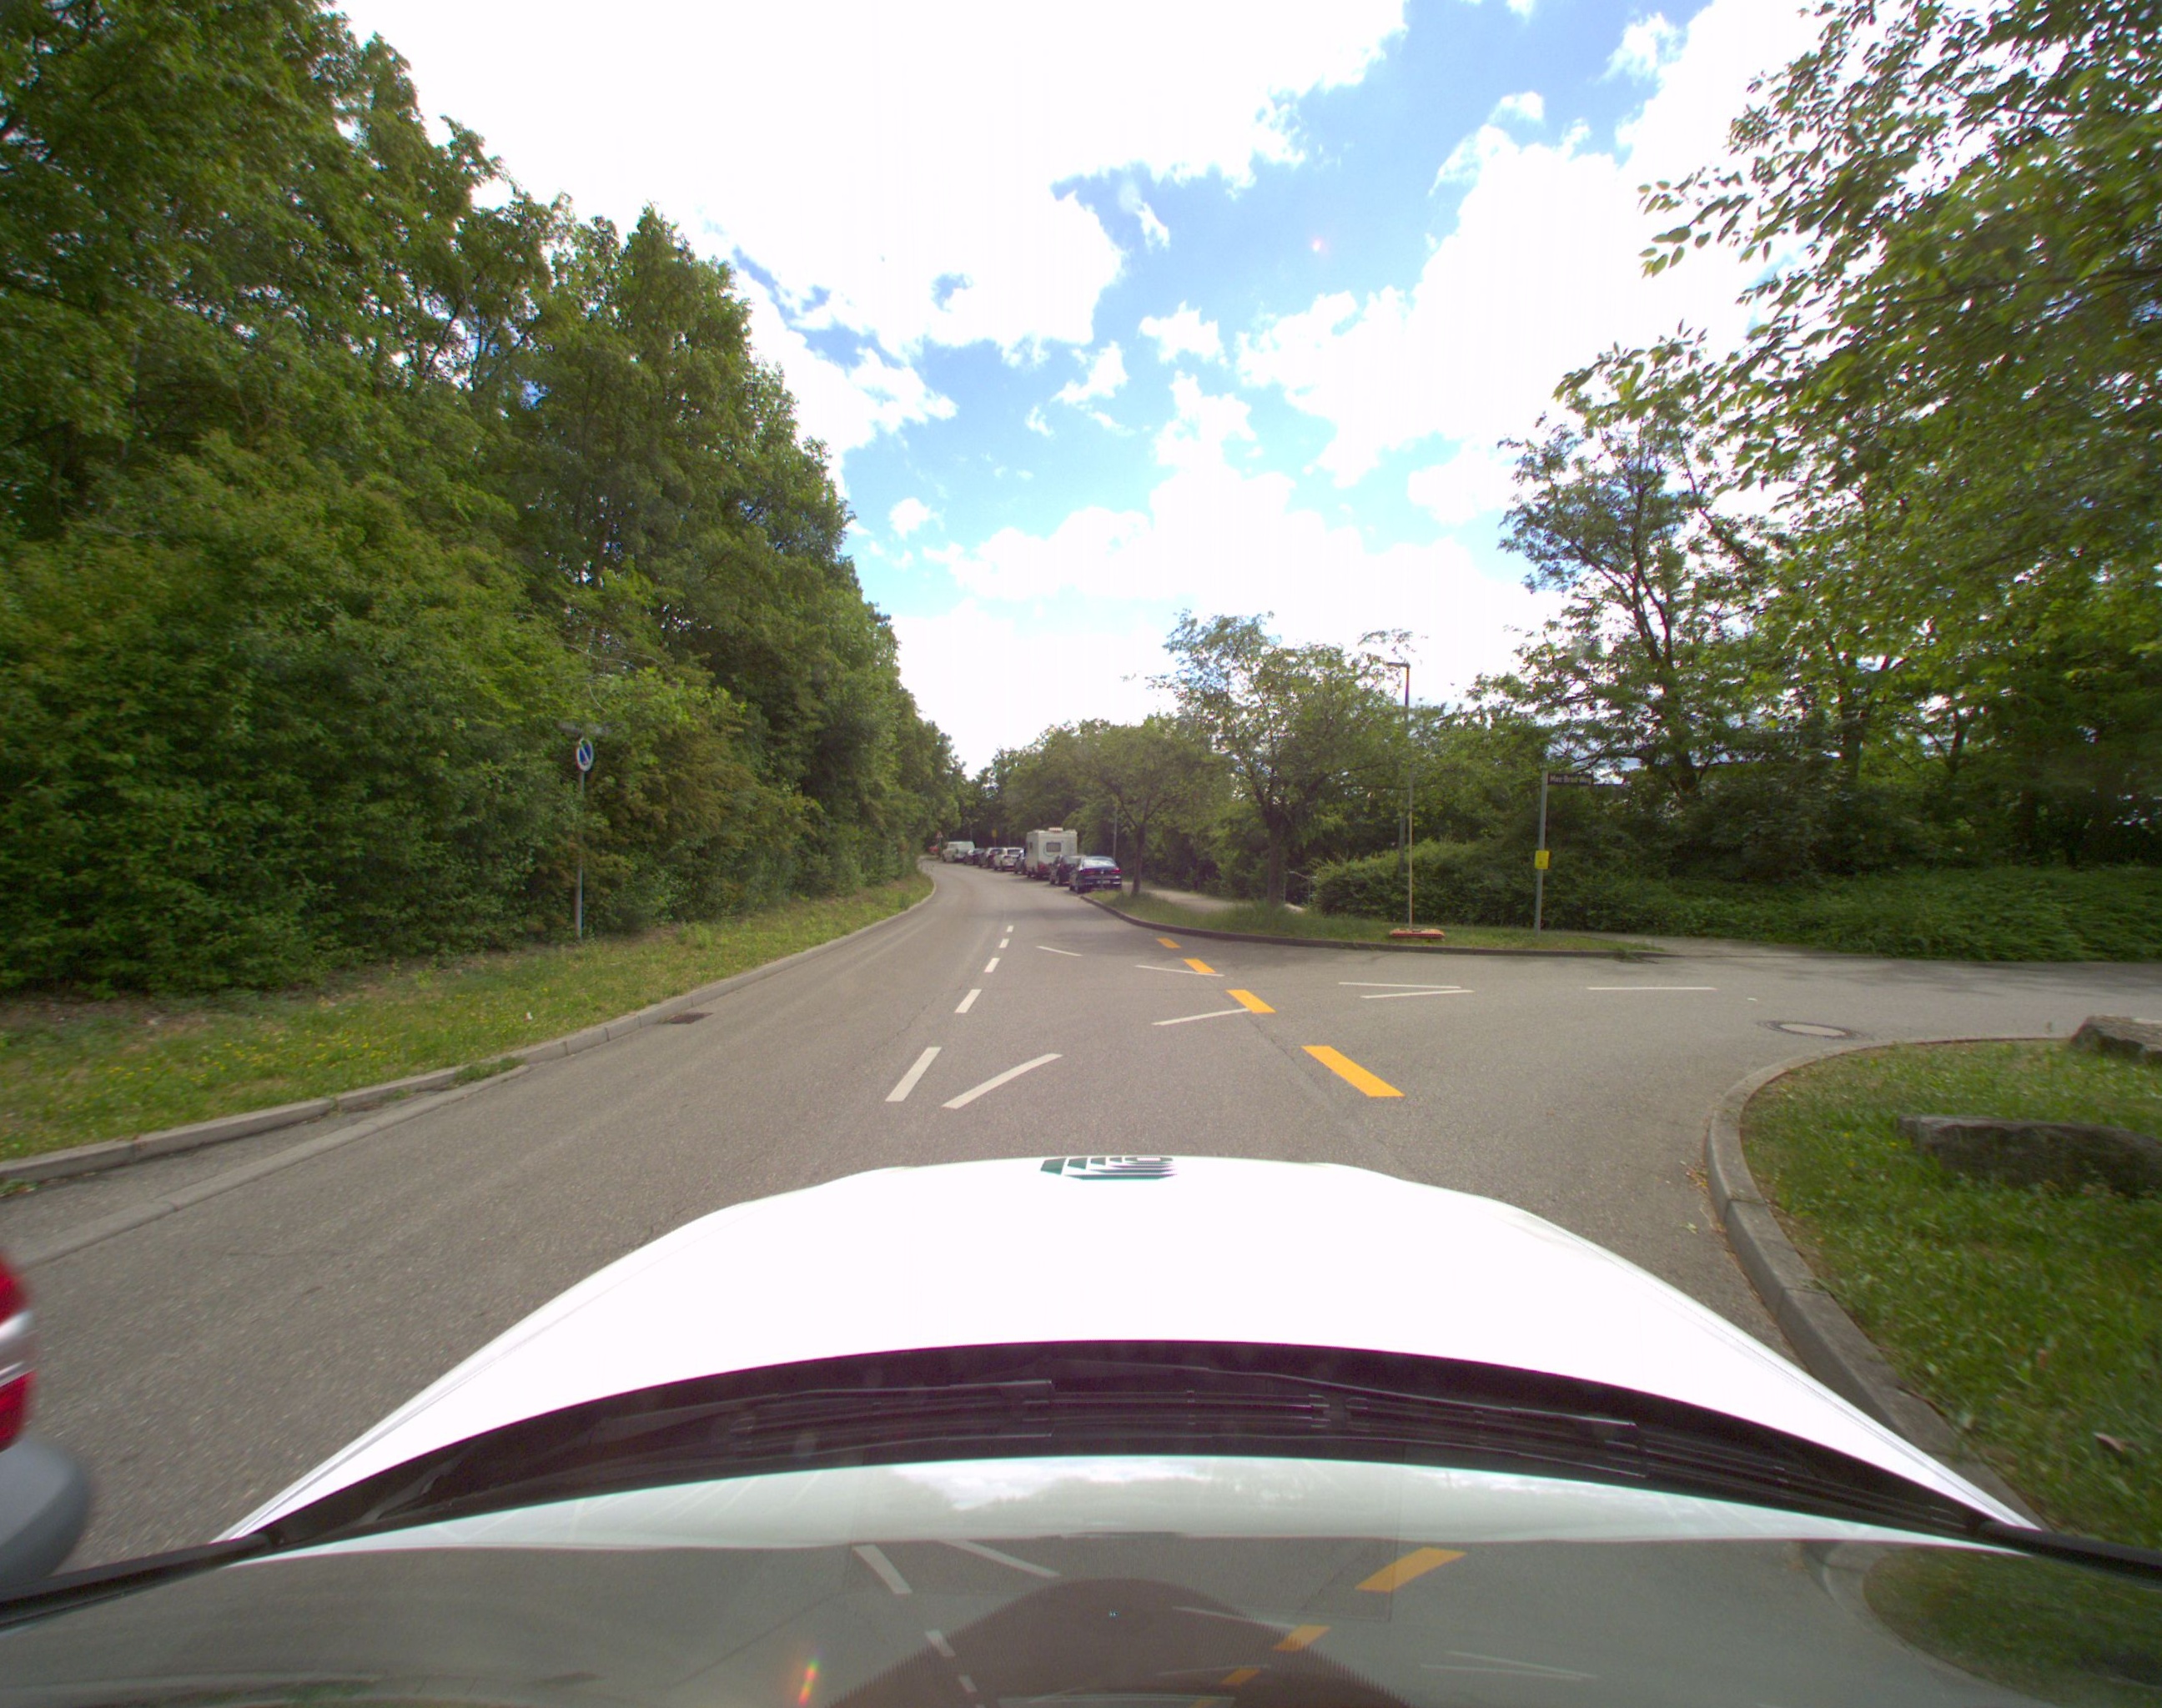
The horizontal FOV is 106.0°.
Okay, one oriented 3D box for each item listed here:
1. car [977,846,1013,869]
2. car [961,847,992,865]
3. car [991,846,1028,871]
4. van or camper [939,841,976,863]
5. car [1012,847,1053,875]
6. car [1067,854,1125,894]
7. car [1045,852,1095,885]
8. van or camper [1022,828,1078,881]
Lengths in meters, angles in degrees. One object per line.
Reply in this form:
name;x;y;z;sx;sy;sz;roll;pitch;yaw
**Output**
car;-7.080;0.227;66.397;2.000;1.626;4.252;-3;2;-19
car;-9.352;0.150;72.795;1.805;1.464;3.970;-1;1;-23
car;-5.378;0.303;60.852;1.875;1.689;4.554;1;1;-16
van or camper;-11.908;-0.252;78.020;2.004;1.919;5.221;-2;2;-26
car;-3.273;0.414;53.883;1.715;1.591;3.978;-7;3;-16
car;0.542;0.756;33.296;1.774;1.434;4.323;-1;1;-7
car;-0.598;0.710;40.408;1.730;1.519;3.873;-1;-1;-12
van or camper;-1.930;0.005;47.880;2.334;2.869;6.126;1;0;-11
